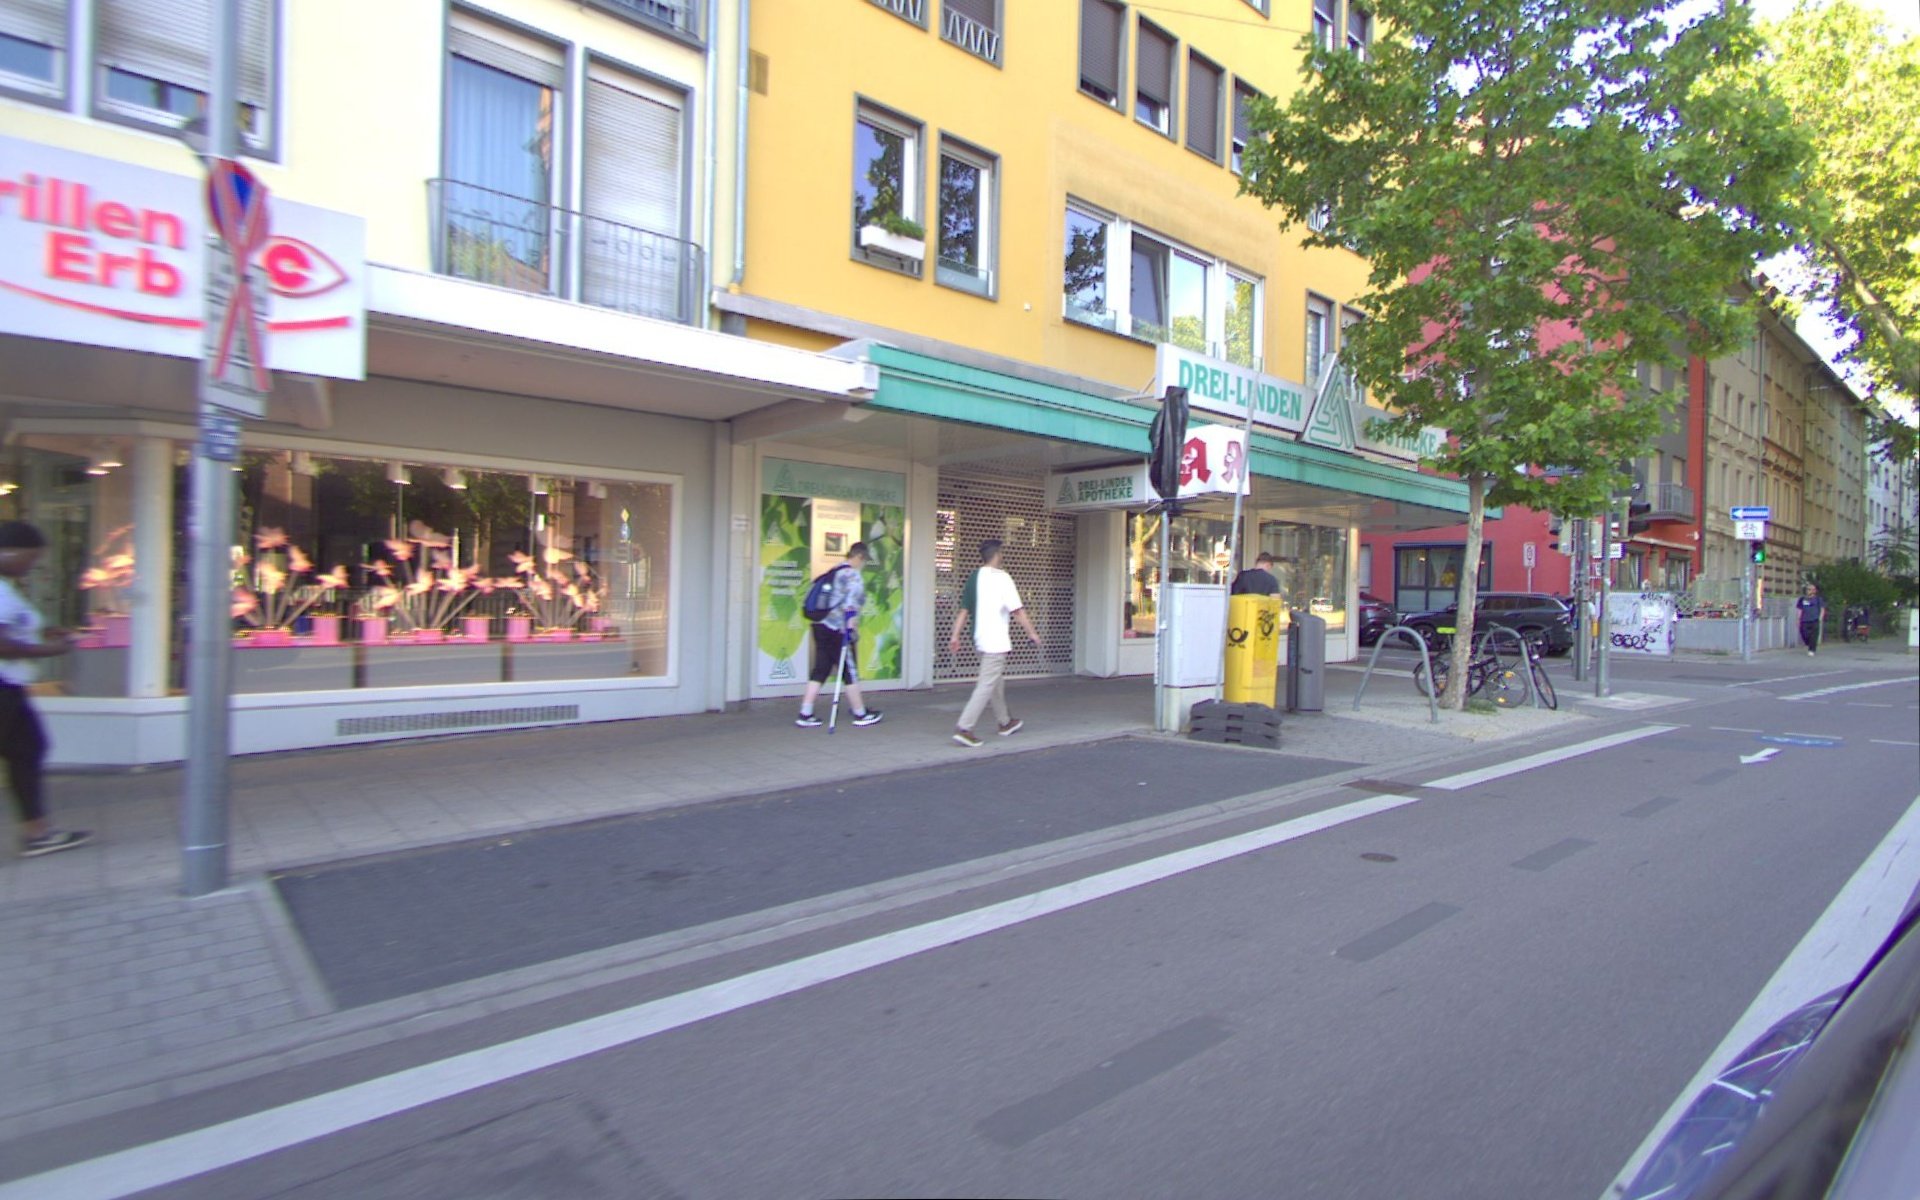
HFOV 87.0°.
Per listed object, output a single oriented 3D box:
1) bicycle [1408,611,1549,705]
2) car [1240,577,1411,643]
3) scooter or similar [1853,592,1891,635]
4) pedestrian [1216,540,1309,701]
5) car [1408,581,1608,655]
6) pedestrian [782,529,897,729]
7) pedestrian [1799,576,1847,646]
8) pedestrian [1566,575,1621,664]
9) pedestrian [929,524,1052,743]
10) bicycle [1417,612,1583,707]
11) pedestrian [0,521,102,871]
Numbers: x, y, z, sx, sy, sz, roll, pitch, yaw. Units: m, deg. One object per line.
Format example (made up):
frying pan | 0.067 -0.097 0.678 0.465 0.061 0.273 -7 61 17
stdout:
bicycle | 6.579 0.703 12.891 0.446 1.020 1.485 0 4 -43
car | 10.998 0.250 30.729 1.741 1.762 4.610 1 1 -41
scooter or similar | 32.605 0.475 36.163 2.500 1.488 0.666 1 1 -41
pedestrian | 3.581 0.215 11.985 0.753 1.829 0.725 0 2 -41
car | 14.497 0.424 26.964 1.741 1.707 4.349 1 1 -41
pedestrian | -1.113 0.236 9.338 0.753 1.745 0.725 0 2 -41
pedestrian | 22.168 0.277 25.993 0.802 1.731 0.728 0 4 -41
pedestrian | 13.510 0.392 21.577 0.879 1.801 0.745 -2 3 -41
pedestrian | 0.264 0.261 8.853 0.753 1.801 0.725 0 2 -41
bicycle | 7.023 0.739 13.233 0.532 1.020 1.801 0 4 -43
pedestrian | -4.630 0.430 4.806 0.836 1.598 0.611 0 2 -41
